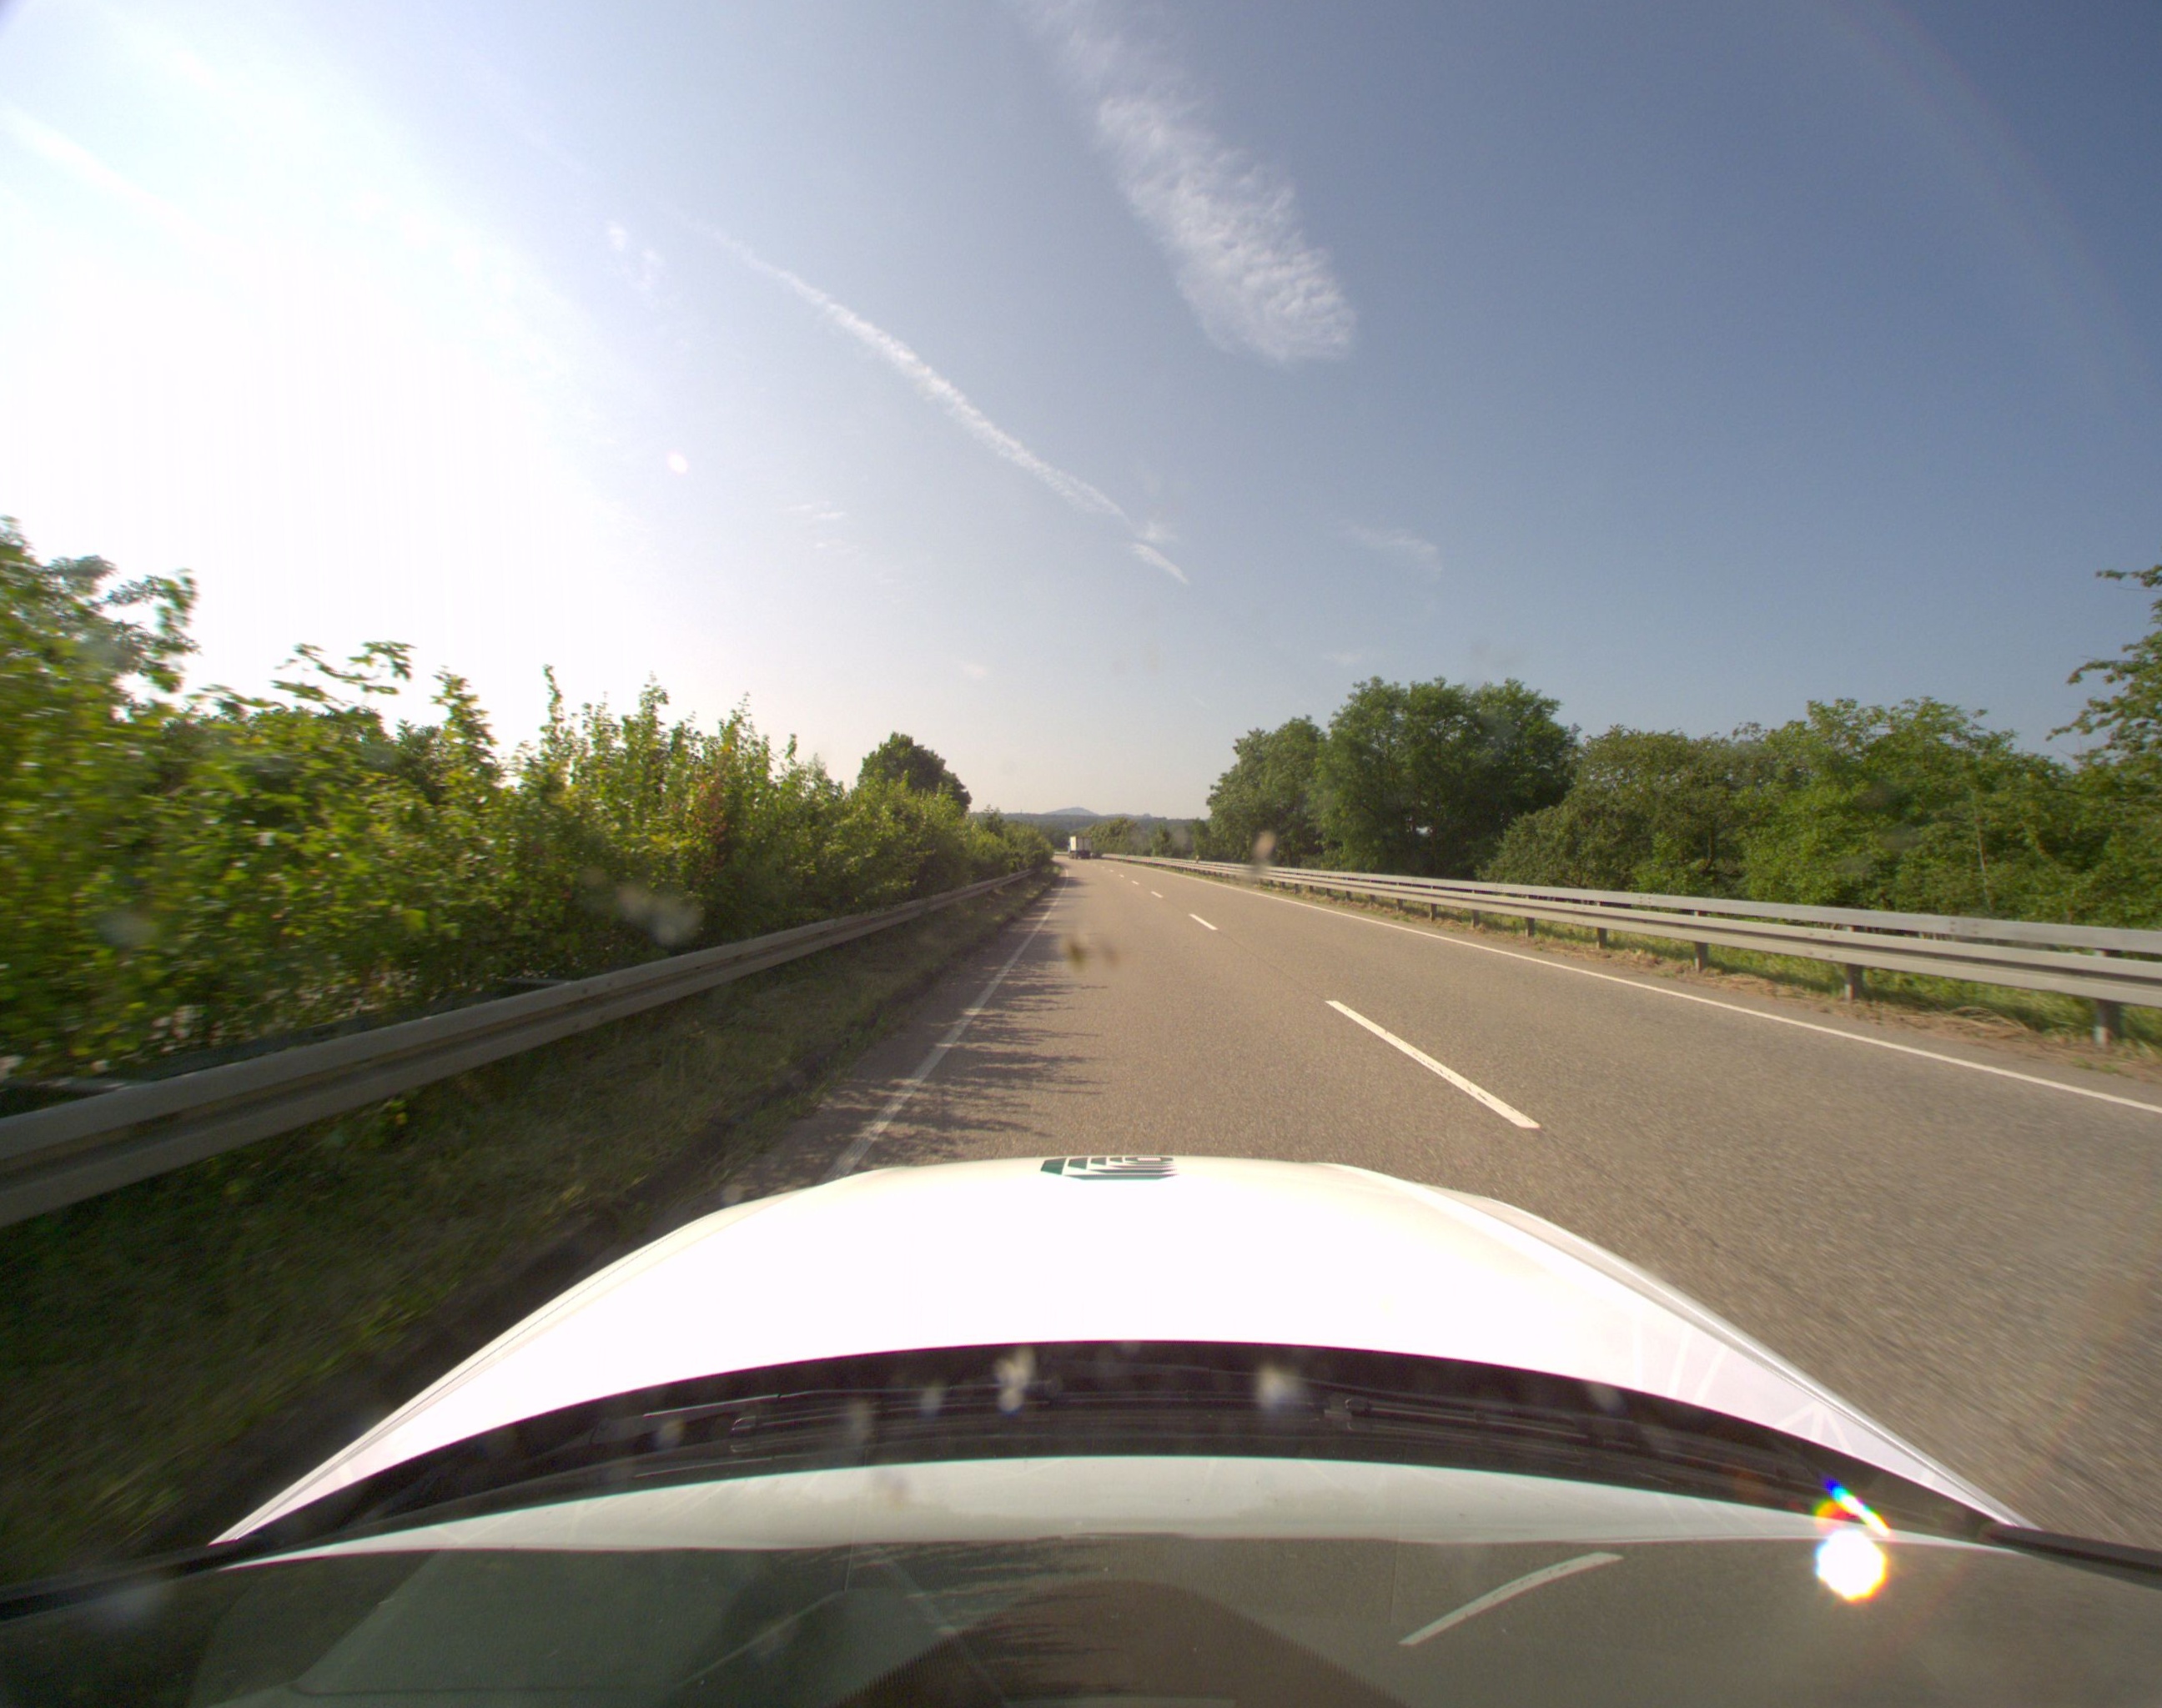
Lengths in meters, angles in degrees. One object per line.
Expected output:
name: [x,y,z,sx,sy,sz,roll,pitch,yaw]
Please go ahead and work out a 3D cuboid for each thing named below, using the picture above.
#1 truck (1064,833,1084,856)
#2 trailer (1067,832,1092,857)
truck: [-1.225,-1.640,143.464,2.658,3.896,5.631,-1,1,-9]
trailer: [-0.270,-1.608,137.486,2.679,3.907,9.641,-1,1,-9]
